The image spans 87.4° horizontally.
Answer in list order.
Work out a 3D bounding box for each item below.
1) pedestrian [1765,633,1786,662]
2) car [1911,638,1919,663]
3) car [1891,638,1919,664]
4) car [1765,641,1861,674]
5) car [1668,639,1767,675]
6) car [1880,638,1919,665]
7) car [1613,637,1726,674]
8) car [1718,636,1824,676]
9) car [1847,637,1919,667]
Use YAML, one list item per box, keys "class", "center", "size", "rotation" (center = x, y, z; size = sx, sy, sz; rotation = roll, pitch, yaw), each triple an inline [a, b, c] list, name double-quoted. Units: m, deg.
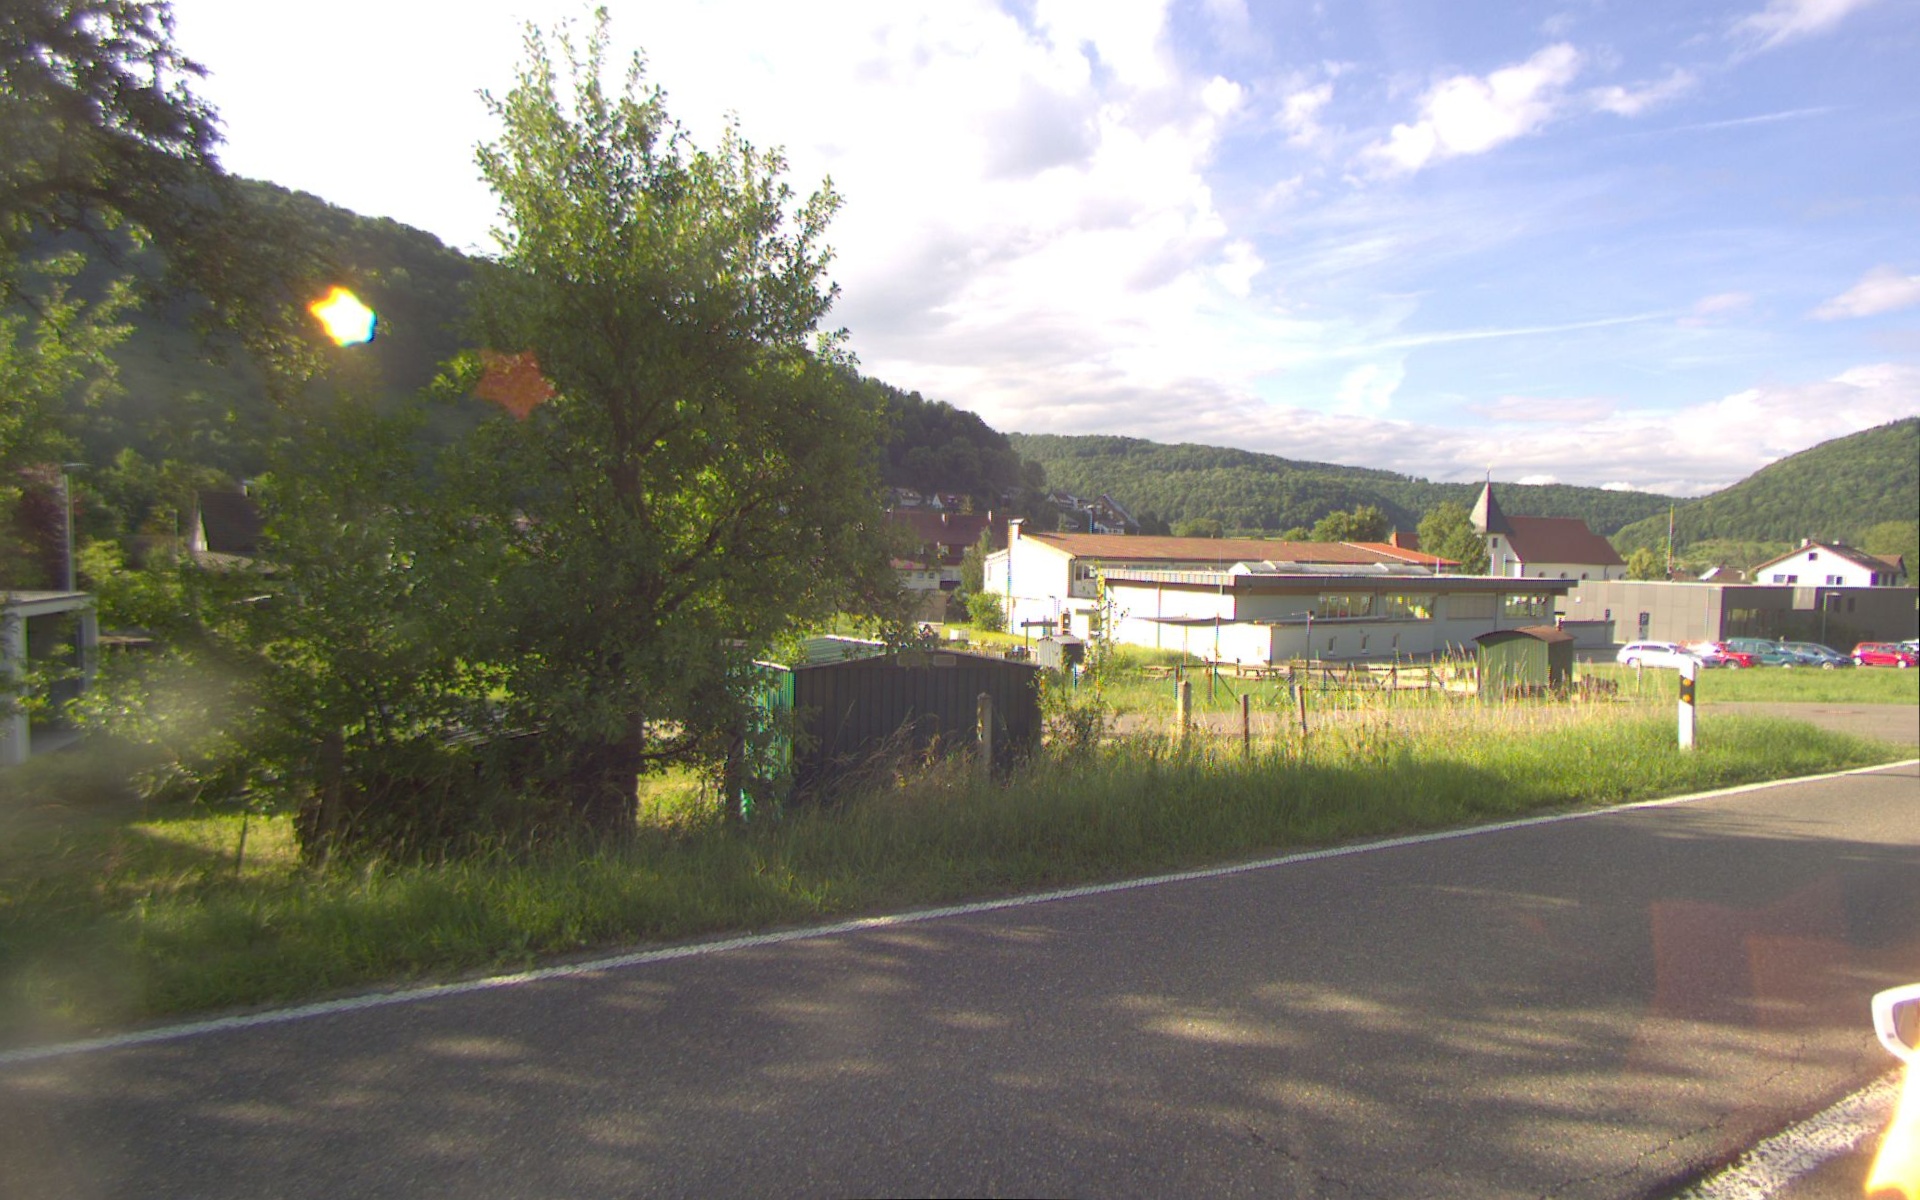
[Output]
- class: "pedestrian"
  center: [57.617, 3.345, 70.946]
  size: [0.962, 2.040, 0.821]
  rotation: [2, 0, -30]
- class: "car"
  center: [70.163, 3.675, 70.960]
  size: [1.978, 1.733, 3.965]
  rotation: [2, 0, -32]
- class: "car"
  center: [67.322, 3.578, 69.395]
  size: [1.978, 1.733, 3.965]
  rotation: [2, 0, -32]
- class: "car"
  center: [51.347, 3.455, 60.514]
  size: [1.978, 1.733, 3.965]
  rotation: [2, 0, -32]
- class: "car"
  center: [42.201, 3.146, 56.008]
  size: [1.978, 1.733, 3.965]
  rotation: [2, 0, -32]
- class: "car"
  center: [64.443, 3.475, 67.138]
  size: [1.978, 1.733, 3.965]
  rotation: [2, 0, -32]
- class: "car"
  center: [39.099, 3.047, 55.480]
  size: [1.978, 1.733, 4.705]
  rotation: [2, 0, -32]
- class: "car"
  center: [47.294, 3.250, 58.658]
  size: [1.978, 2.034, 4.382]
  rotation: [2, 0, -32]
- class: "car"
  center: [60.432, 3.340, 65.109]
  size: [1.978, 1.733, 3.965]
  rotation: [2, 0, -32]
